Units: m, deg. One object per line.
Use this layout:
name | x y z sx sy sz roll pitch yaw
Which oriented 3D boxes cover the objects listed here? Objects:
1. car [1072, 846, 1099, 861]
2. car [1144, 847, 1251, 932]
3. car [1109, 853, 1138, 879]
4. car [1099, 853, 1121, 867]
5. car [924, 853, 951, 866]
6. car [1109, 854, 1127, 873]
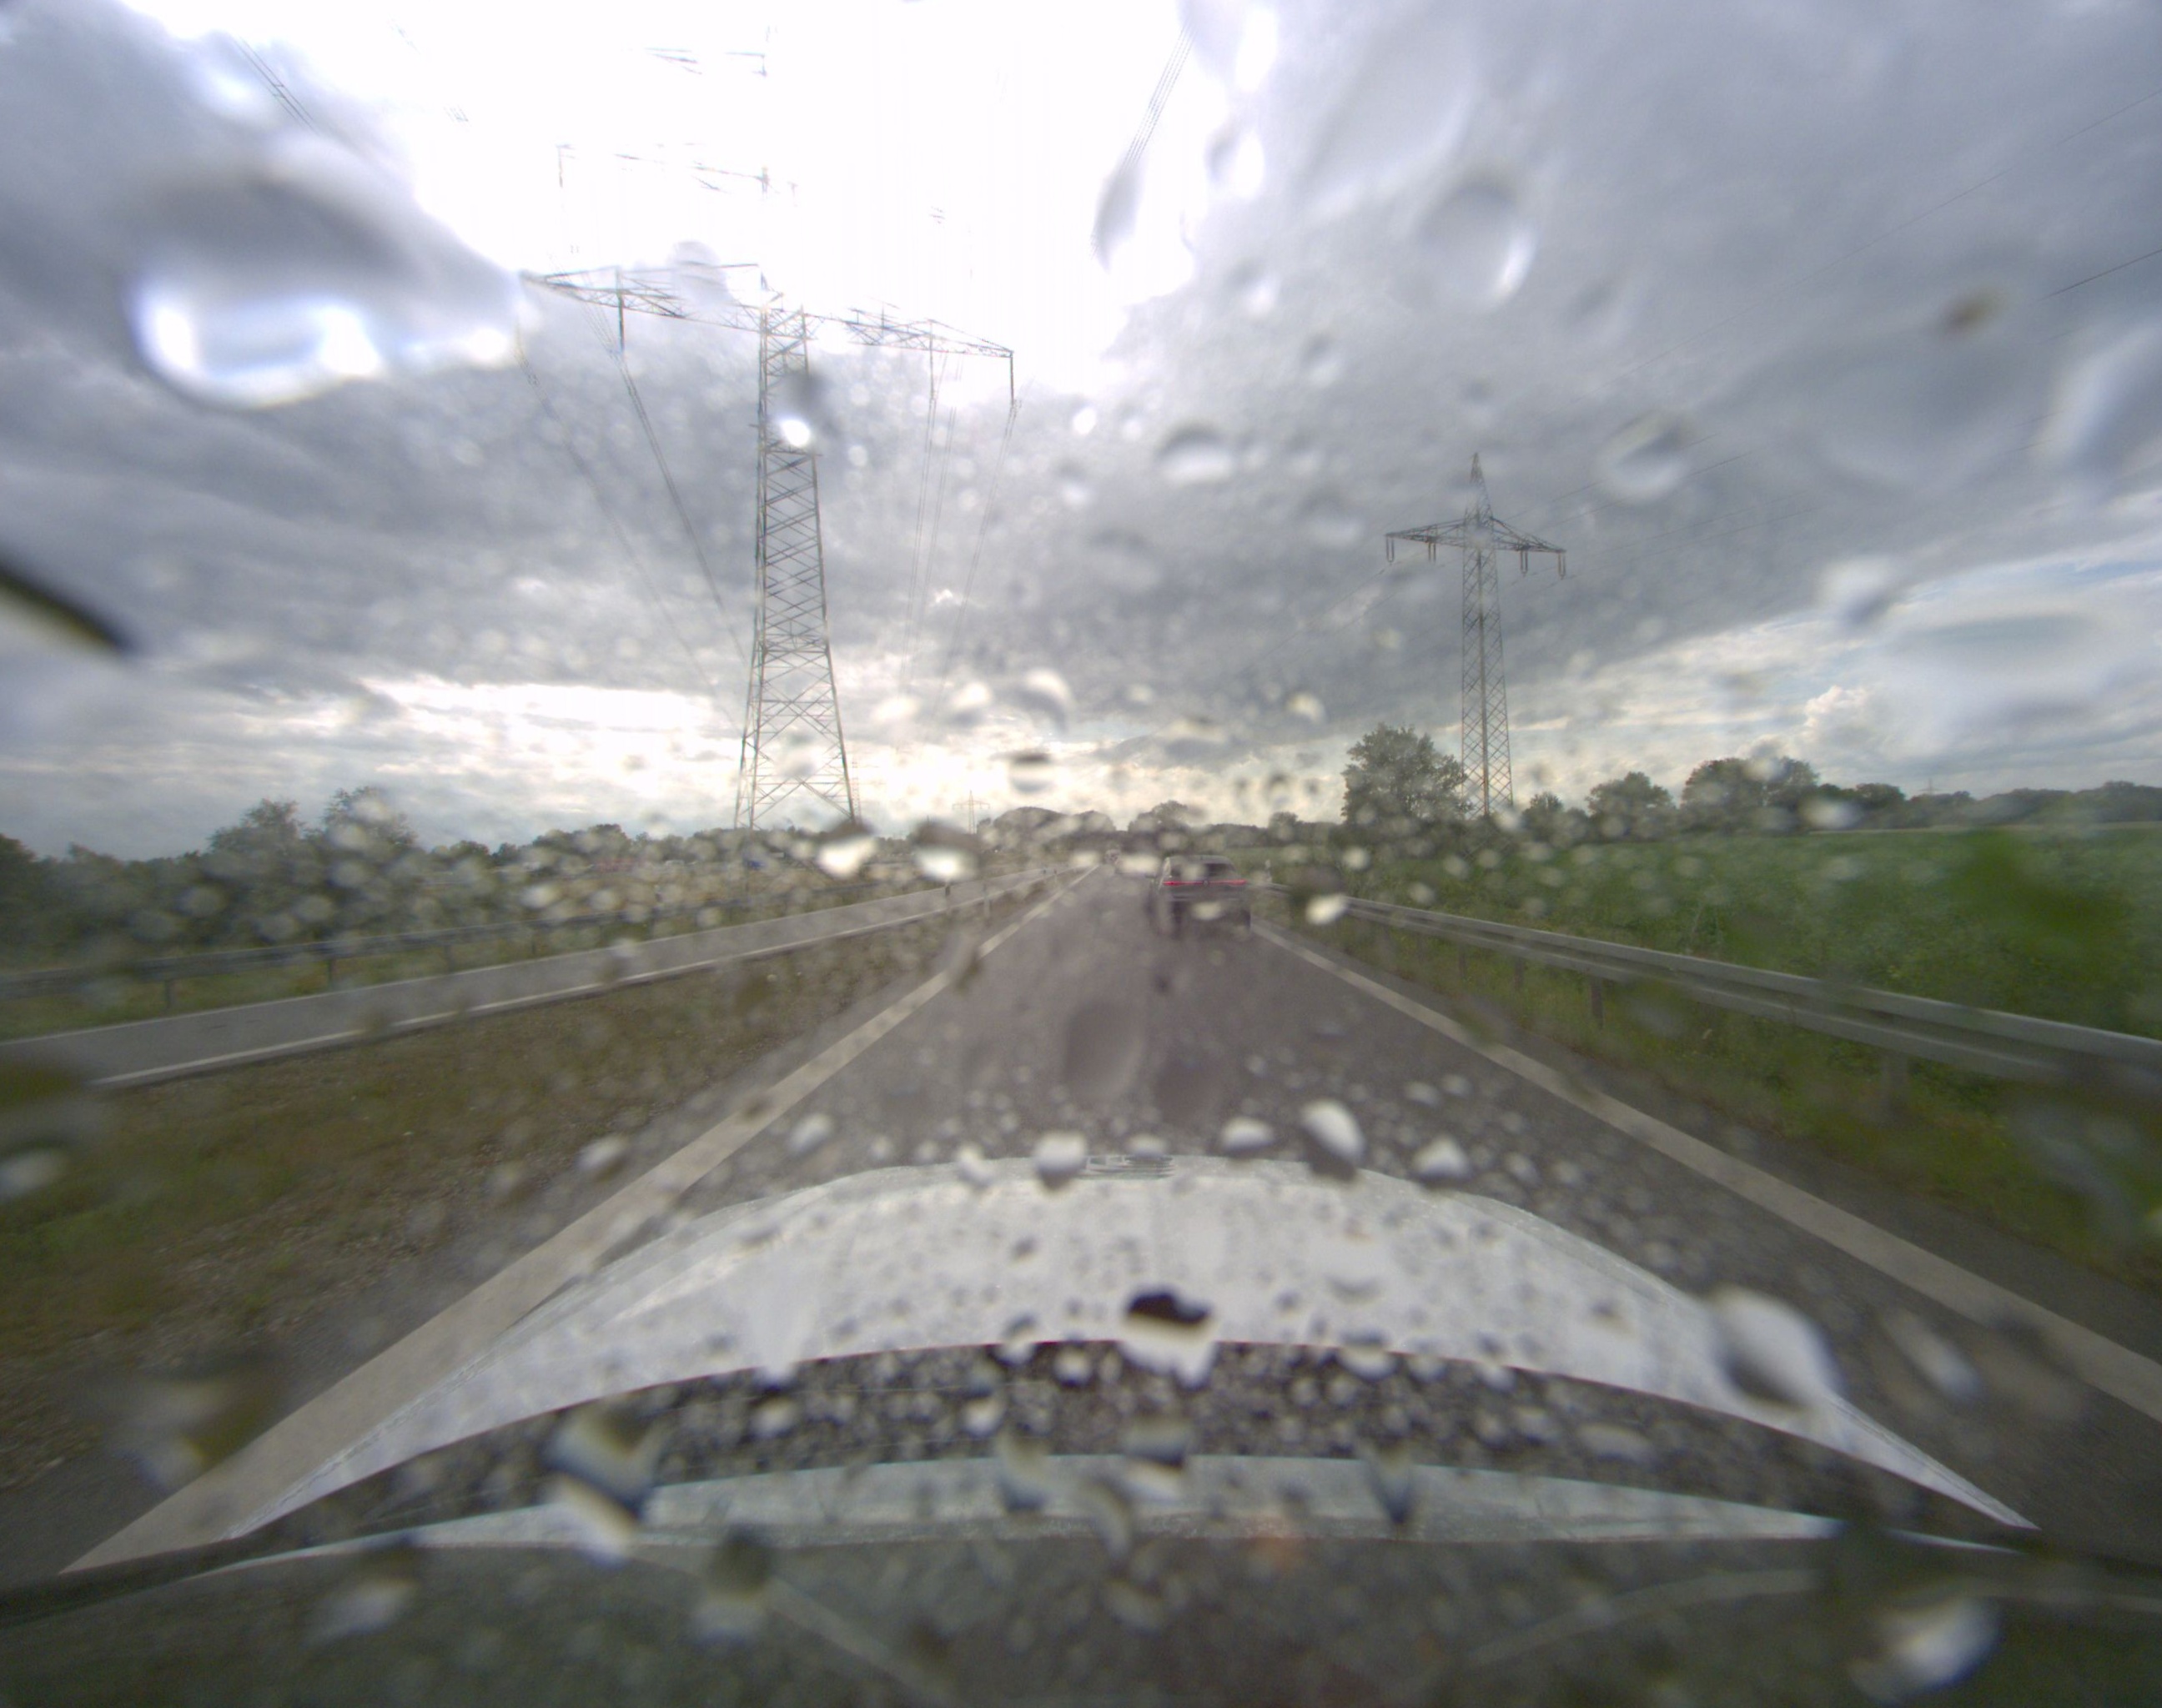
car | 0.966 -0.217 175.239 3.149 2.951 7.155 -3 2 -23
car | 2.341 0.648 17.302 1.984 1.566 4.154 0 0 5
car | 3.565 0.991 69.109 2.114 2.018 5.533 -2 0 -1
car | 5.267 1.089 148.870 2.357 2.306 5.100 -2 2 -17
car | -40.331 1.552 228.736 3.412 3.610 8.938 -2 0 -40
car | 4.952 1.225 110.122 2.342 2.306 5.131 -2 2 2
